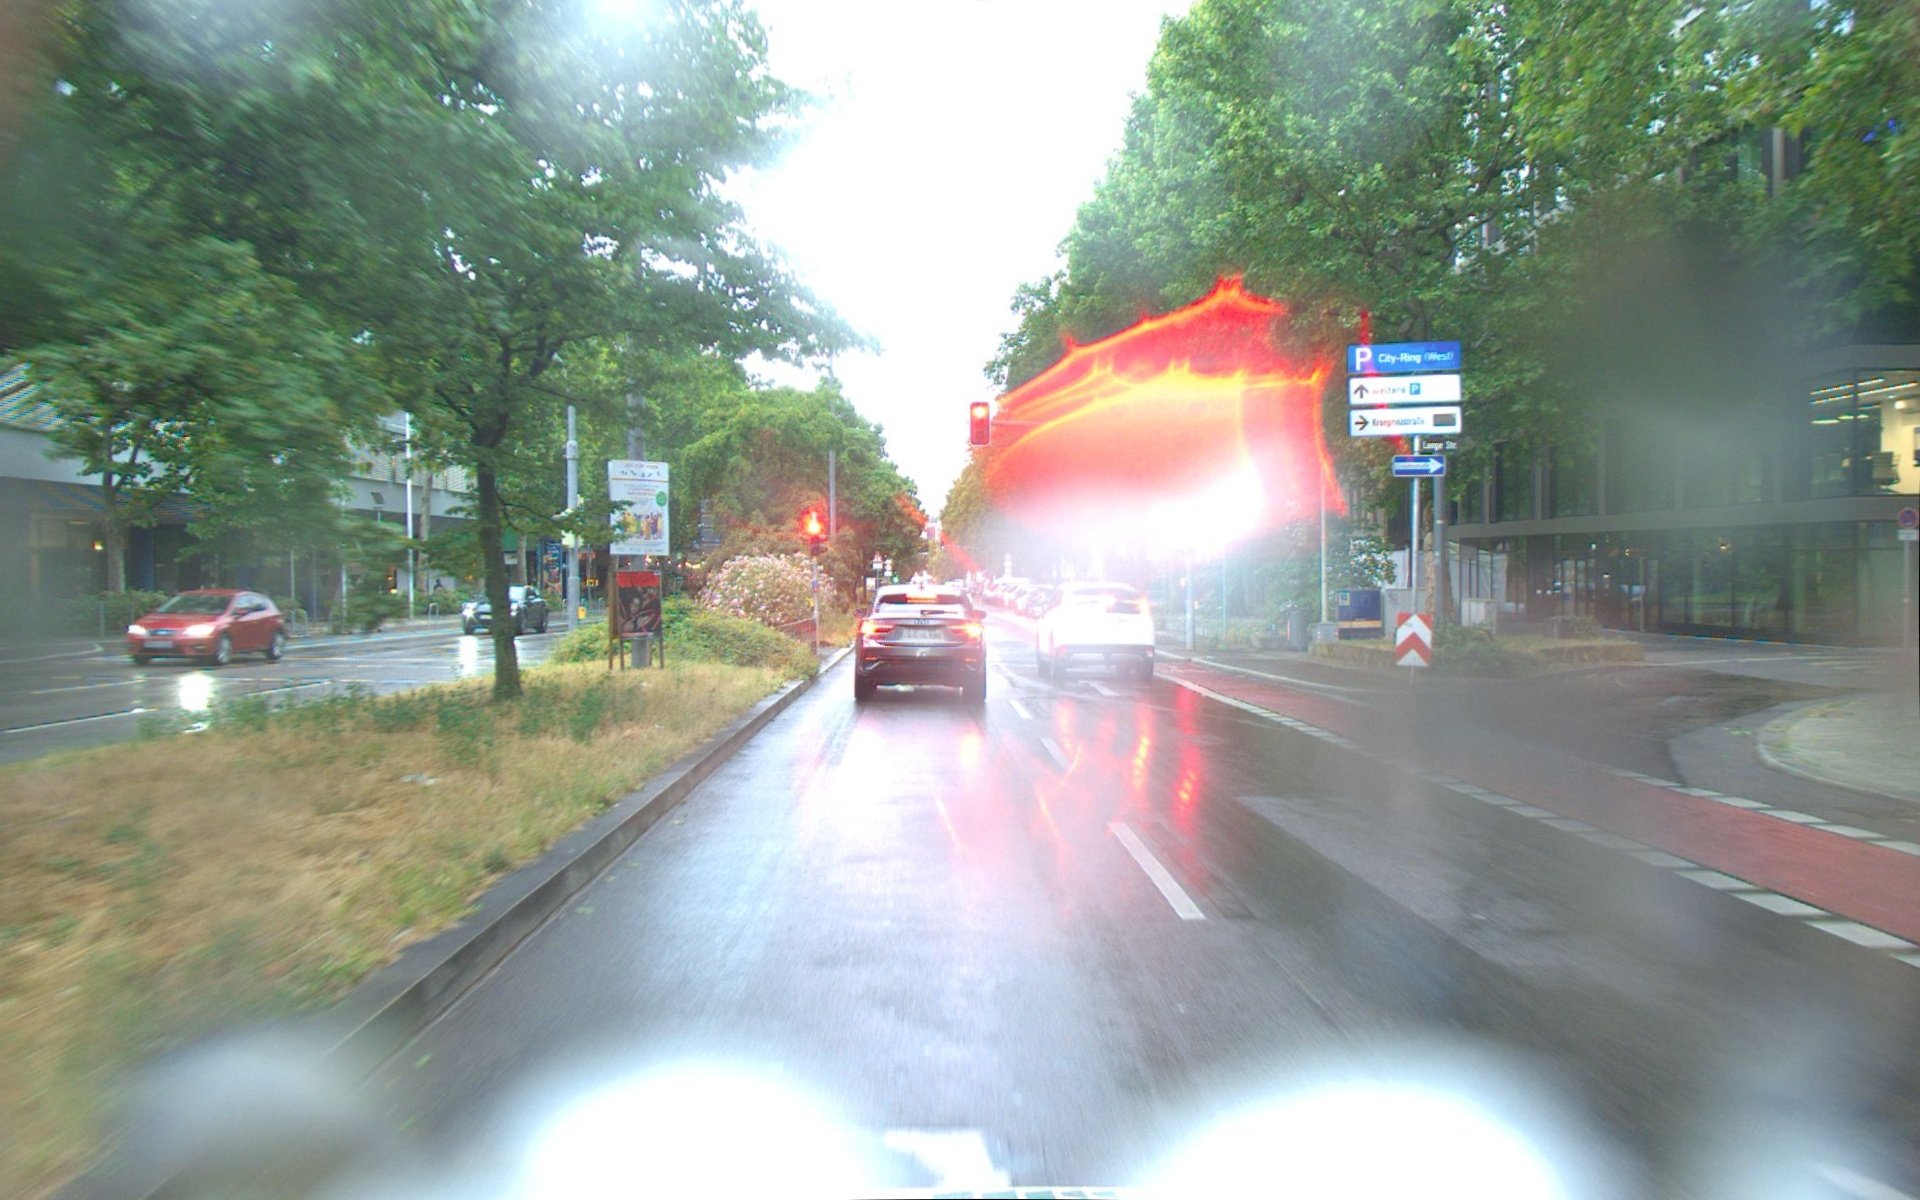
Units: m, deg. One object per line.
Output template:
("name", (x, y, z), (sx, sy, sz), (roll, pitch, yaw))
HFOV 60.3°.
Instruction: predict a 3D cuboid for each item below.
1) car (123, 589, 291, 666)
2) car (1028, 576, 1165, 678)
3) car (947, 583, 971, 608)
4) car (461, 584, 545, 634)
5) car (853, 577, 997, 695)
("car", (-15.173, 0.509, 33.554), (1.582, 1.418, 4.183), (0, 1, -2))
("car", (2.387, 0.420, 30.134), (1.953, 1.684, 4.887), (0, 1, -2))
("car", (-0.077, -0.345, 119.662), (1.588, 1.695, 3.999), (-1, 1, -2))
("car", (-15.054, 0.267, 54.686), (1.793, 1.579, 4.187), (0, 0, -3))
("car", (-0.513, 0.445, 23.673), (1.880, 1.517, 3.999), (0, 1, -2))
